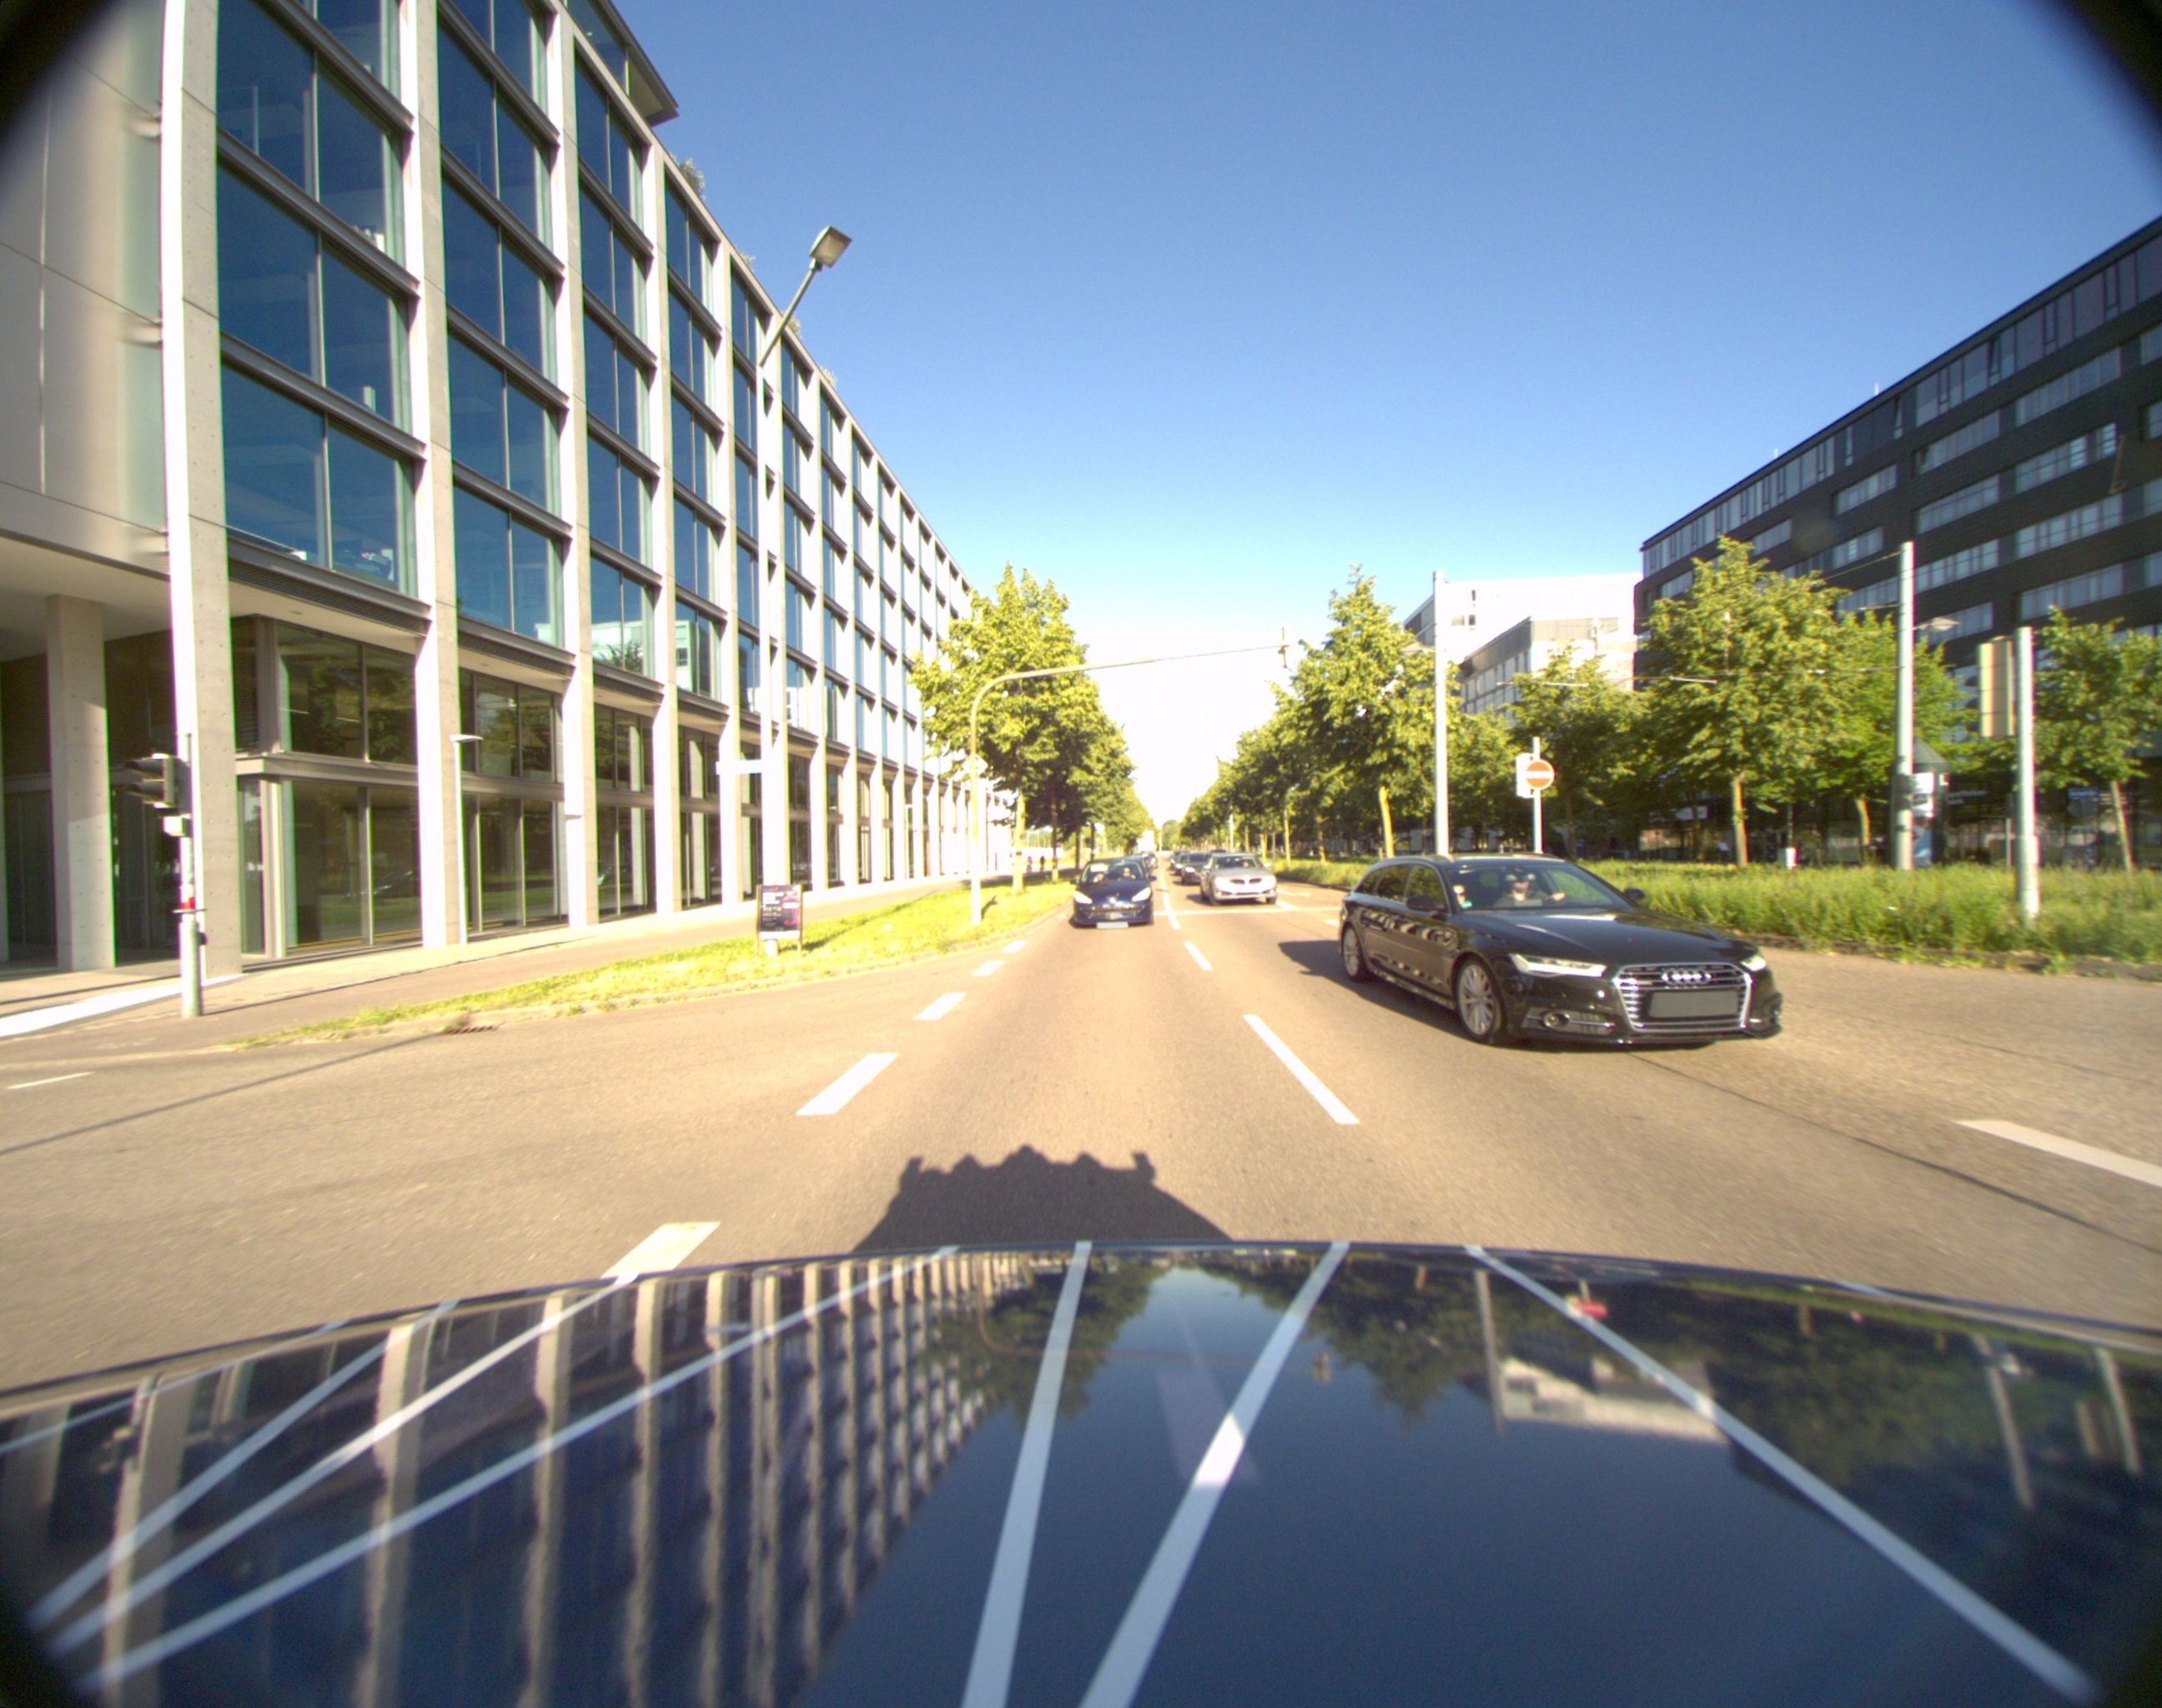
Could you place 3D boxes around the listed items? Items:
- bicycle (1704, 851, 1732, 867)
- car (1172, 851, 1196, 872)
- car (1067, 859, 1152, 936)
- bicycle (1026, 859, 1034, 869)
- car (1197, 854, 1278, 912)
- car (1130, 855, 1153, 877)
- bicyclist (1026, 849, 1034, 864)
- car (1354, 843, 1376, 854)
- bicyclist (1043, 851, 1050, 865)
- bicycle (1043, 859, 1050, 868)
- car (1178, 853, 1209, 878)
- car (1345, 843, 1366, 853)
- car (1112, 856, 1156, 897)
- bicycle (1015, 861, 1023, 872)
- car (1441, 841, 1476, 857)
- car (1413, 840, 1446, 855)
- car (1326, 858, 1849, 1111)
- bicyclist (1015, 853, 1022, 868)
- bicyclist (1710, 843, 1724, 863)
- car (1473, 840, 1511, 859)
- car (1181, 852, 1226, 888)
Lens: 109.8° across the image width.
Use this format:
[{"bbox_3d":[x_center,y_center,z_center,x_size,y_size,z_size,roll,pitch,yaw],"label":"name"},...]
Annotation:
[{"bbox_3d":[44.677,0.328,53.298,0.528,1.028,1.848,-2,1,6],"label":"bicycle"},{"bbox_3d":[8.257,0.570,61.251,1.811,1.581,4.166,-1,1,7],"label":"car"},{"bbox_3d":[0.767,0.917,17.556,1.685,1.514,3.786,-1,1,6],"label":"car"},{"bbox_3d":[-4.332,0.832,64.770,0.464,0.813,1.345,-2,1,7],"label":"bicycle"},{"bbox_3d":[4.567,0.780,22.766,1.812,1.480,4.744,-1,1,5],"label":"car"},{"bbox_3d":[4.834,0.916,60.173,1.704,1.591,3.786,-1,1,6],"label":"car"},{"bbox_3d":[-4.369,0.195,64.731,0.534,1.210,0.508,-2,1,7],"label":"bicyclist"},{"bbox_3d":[45.534,-0.885,121.929,2.011,1.689,4.793,-1,1,5],"label":"car"},{"bbox_3d":[-3.169,0.343,69.429,0.534,1.282,0.521,-2,1,7],"label":"bicyclist"},{"bbox_3d":[-3.156,0.851,69.438,0.464,0.813,1.345,-2,1,7],"label":"bicycle"},{"bbox_3d":[7.136,0.684,48.589,1.811,1.446,4.256,-1,1,7],"label":"car"},{"bbox_3d":[46.105,-0.985,127.709,2.011,1.689,4.793,-1,1,5],"label":"car"},{"bbox_3d":[2.249,0.873,31.352,1.611,1.463,4.396,-1,1,6],"label":"car"},{"bbox_3d":[-5.335,1.072,65.129,0.415,0.813,1.320,-2,1,7],"label":"bicycle"},{"bbox_3d":[41.767,-0.598,84.139,1.857,1.674,4.794,-1,1,6],"label":"car"},{"bbox_3d":[43.118,-0.816,94.184,2.011,1.689,4.792,-1,1,2],"label":"car"},{"bbox_3d":[3.847,0.818,6.938,1.812,1.448,4.508,-2,1,1],"label":"car"},{"bbox_3d":[-5.355,0.562,65.069,0.448,1.282,0.418,-2,2,7],"label":"bicyclist"},{"bbox_3d":[44.691,-0.083,53.388,0.493,1.398,0.626,-2,1,6],"label":"bicyclist"},{"bbox_3d":[39.963,-0.423,73.919,1.857,1.739,4.001,-1,1,6],"label":"car"},{"bbox_3d":[5.543,0.693,34.842,1.812,1.514,4.030,-1,1,6],"label":"car"}]
